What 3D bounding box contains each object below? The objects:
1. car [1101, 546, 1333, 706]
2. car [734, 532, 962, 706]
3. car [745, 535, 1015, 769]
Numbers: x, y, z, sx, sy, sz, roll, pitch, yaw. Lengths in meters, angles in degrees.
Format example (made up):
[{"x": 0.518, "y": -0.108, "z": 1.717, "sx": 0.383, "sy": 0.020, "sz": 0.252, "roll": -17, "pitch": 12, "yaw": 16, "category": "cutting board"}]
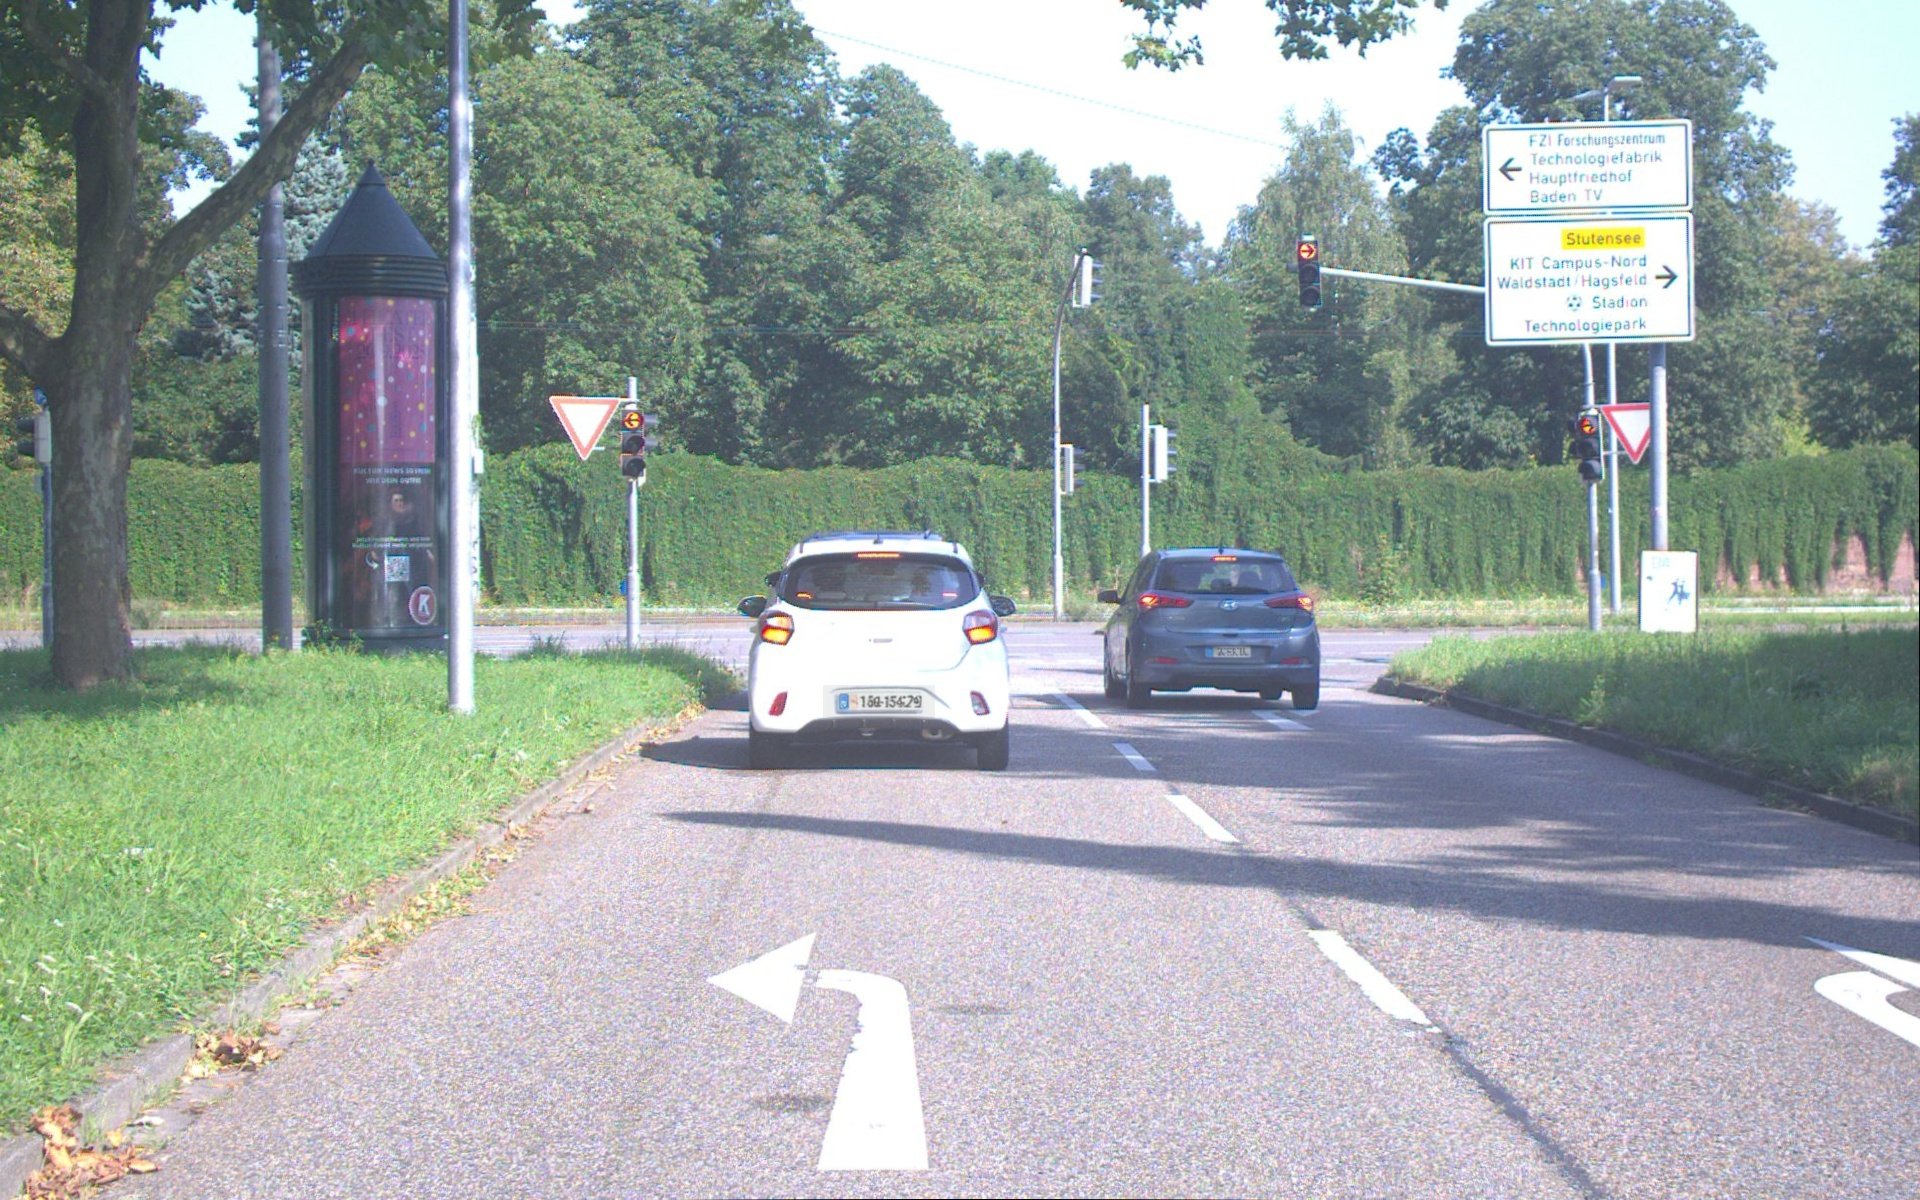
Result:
[{"x": 2.341, "y": 0.200, "z": 32.240, "sx": 1.797, "sy": 1.396, "sz": 4.000, "roll": 0, "pitch": 1, "yaw": -1, "category": "car"}, {"x": -0.945, "y": 0.131, "z": 30.918, "sx": 1.687, "sy": 1.457, "sz": 3.849, "roll": 0, "pitch": 1, "yaw": 4, "category": "car"}, {"x": -0.485, "y": 0.295, "z": 23.552, "sx": 1.687, "sy": 1.457, "sz": 4.000, "roll": 0, "pitch": 1, "yaw": 0, "category": "car"}]
